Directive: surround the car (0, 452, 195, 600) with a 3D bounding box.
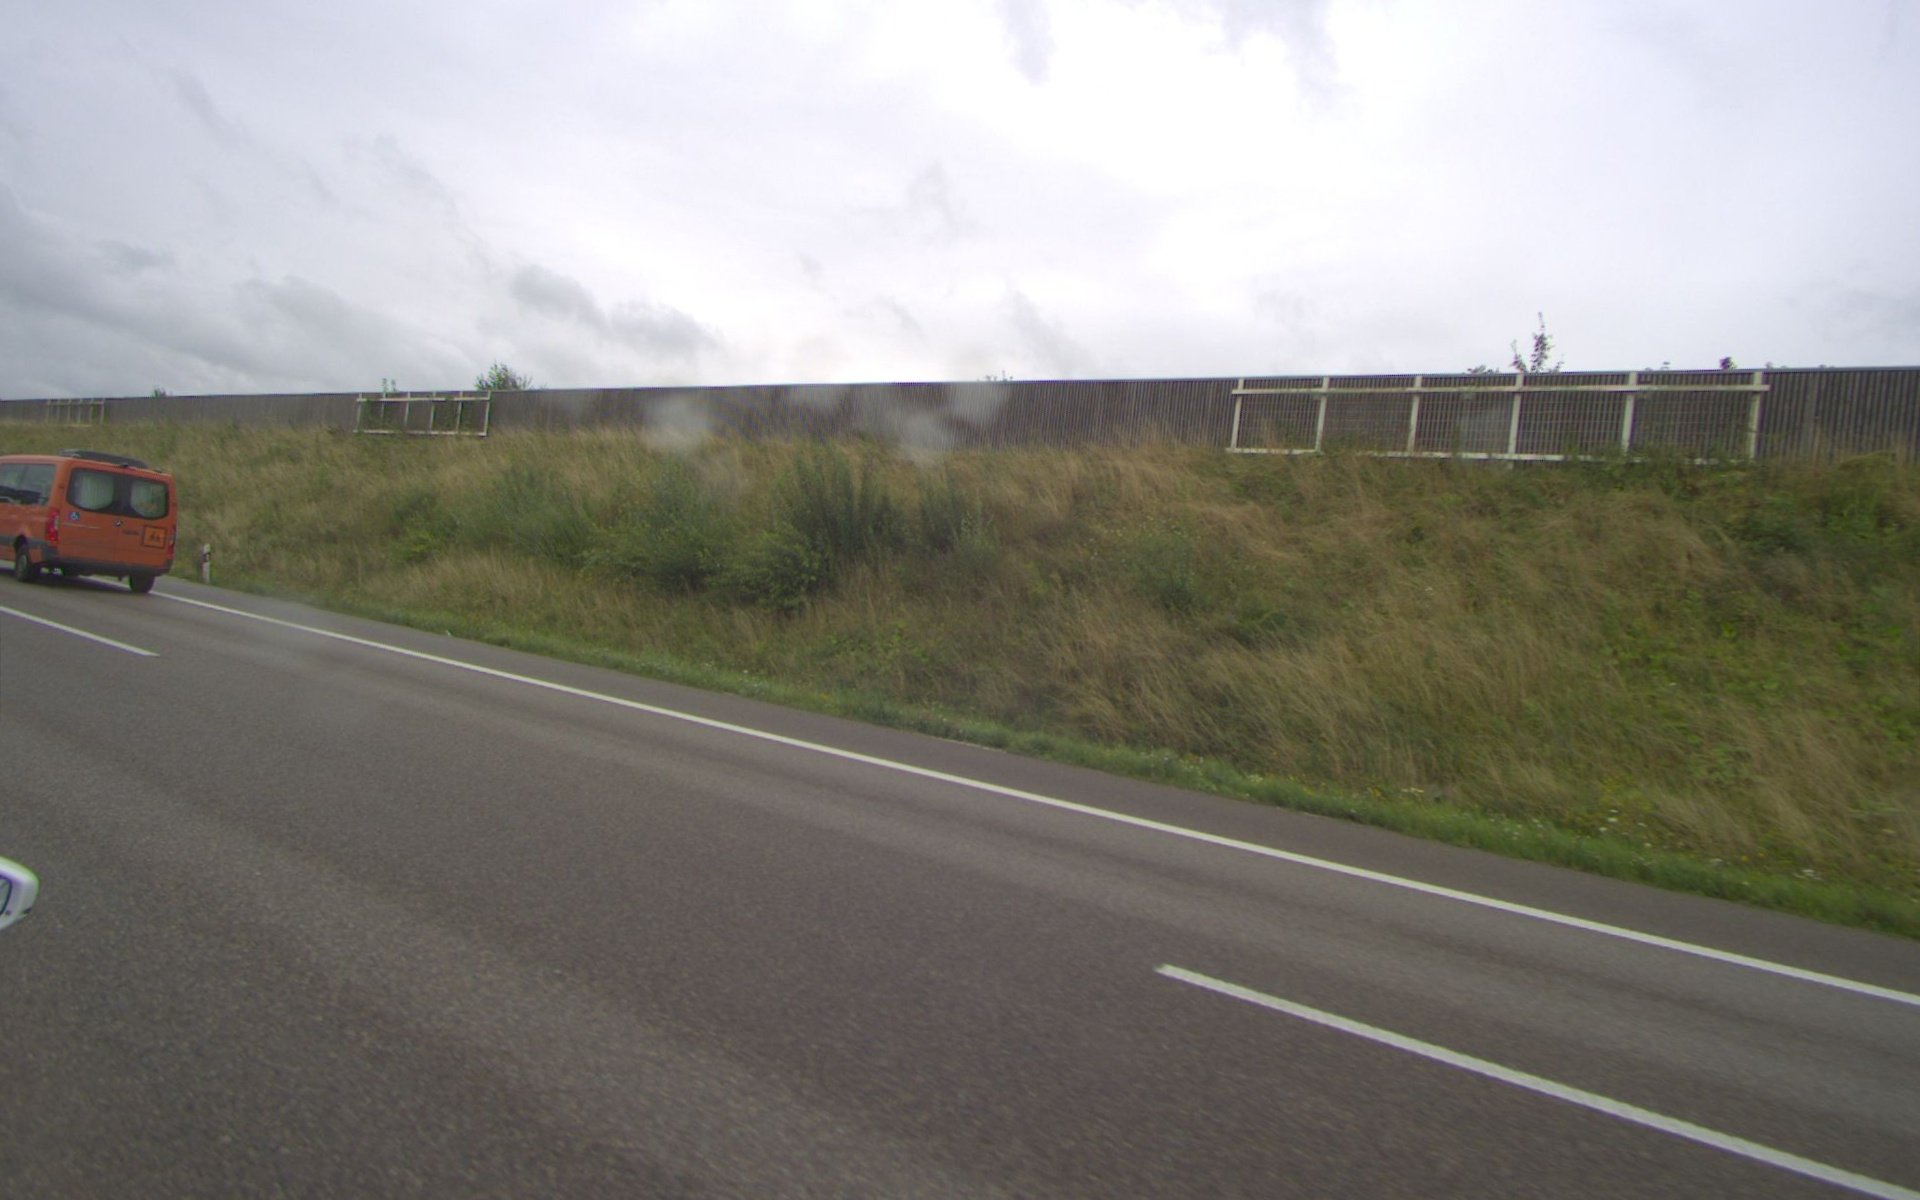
[{"bbox_3d":[-17.986,-1.570,20.036,6.077,2.343,2.089,7,0,31],"label":"car"}]
